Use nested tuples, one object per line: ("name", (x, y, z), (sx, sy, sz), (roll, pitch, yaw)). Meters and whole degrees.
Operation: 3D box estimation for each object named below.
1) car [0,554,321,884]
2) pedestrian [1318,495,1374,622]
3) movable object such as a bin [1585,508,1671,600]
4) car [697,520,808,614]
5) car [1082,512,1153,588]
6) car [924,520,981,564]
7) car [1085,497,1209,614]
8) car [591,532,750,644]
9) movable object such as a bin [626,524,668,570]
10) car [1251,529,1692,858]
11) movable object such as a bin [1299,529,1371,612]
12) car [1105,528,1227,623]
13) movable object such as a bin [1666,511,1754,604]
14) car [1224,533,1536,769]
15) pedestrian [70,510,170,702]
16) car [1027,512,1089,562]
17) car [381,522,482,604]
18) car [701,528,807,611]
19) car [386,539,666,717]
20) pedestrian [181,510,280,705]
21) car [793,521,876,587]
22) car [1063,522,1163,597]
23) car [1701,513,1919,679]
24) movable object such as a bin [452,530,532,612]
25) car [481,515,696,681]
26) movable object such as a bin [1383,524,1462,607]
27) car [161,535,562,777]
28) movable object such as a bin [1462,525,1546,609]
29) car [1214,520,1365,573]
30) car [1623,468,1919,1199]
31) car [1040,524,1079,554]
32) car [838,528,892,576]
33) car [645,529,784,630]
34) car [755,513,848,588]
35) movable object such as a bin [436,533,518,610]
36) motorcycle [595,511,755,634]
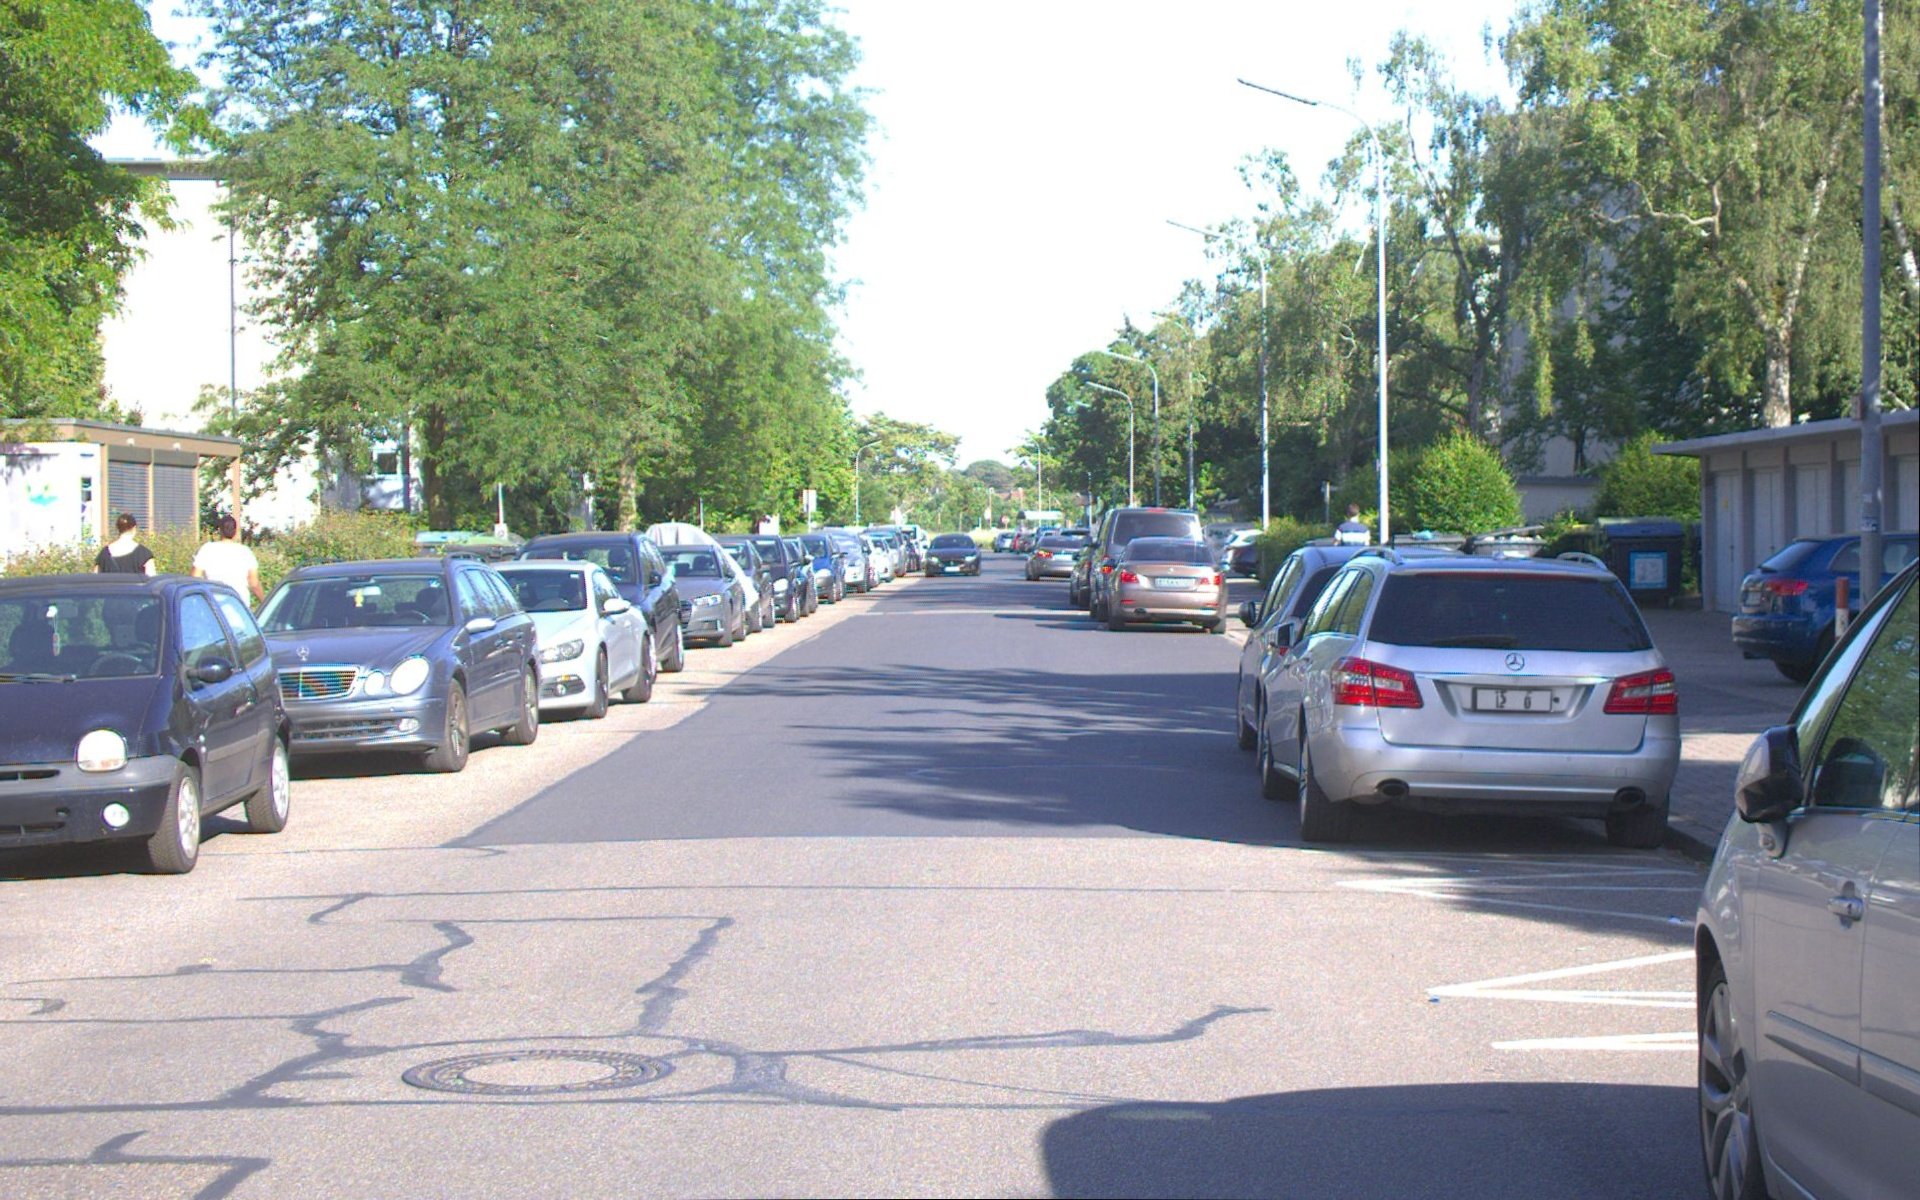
("car", (-4.432, 0.537, 17.568), (1.648, 1.459, 3.496), (-2, 1, 0))
("pedestrian", (5.831, -0.628, 51.943), (0.703, 1.882, 0.872), (-2, 1, 2))
("movable object such as a bin", (11.144, -0.775, 57.397), (1.276, 1.460, 1.133), (0, 5, 4))
("car", (-3.696, -0.612, 61.675), (1.754, 1.568, 3.720), (-2, 1, -1))
("car", (3.630, -1.165, 79.583), (1.489, 1.712, 2.583), (1, 1, 0))
("car", (-0.253, -2.023, 119.789), (1.910, 1.471, 4.571), (-1, 1, 0))
("car", (3.208, -0.792, 59.666), (1.852, 1.927, 4.705), (1, 1, 0))
("car", (-3.983, -0.201, 47.915), (1.754, 1.416, 4.269), (-2, 1, 1))
("movable object such as a bin", (-9.912, -1.690, 108.877), (1.134, 1.416, 1.361), (2, 1, 2))
("car", (2.619, 0.396, 18.629), (1.831, 1.540, 4.641), (0, 1, 2))
("movable object such as a bin", (6.333, -0.504, 58.050), (1.027, 1.305, 1.386), (-3, 1, 11))
("car", (3.202, -0.420, 54.112), (1.801, 1.414, 4.636), (1, 1, 2))
("movable object such as a bin", (12.495, -0.715, 57.335), (1.276, 1.460, 1.133), (0, 5, 4))
("car", (2.826, 0.288, 23.844), (1.804, 1.489, 3.795), (0, 1, 2))
("pedestrian", (-7.397, 0.042, 30.285), (0.720, 1.673, 0.600), (0, 1, 1))
("car", (3.095, -2.004, 108.875), (1.679, 1.508, 4.105), (1, 1, -2))
("car", (-10.963, -0.796, 71.515), (1.570, 1.635, 4.000), (1, 1, -1))
("car", (-3.946, -0.612, 66.371), (1.754, 1.476, 4.538), (-2, 1, 0))
("car", (-3.816, 0.205, 30.910), (1.754, 1.420, 4.210), (-2, 1, 3))
("pedestrian", (-6.297, 0.057, 29.705), (0.720, 1.673, 0.616), (0, 1, 1))
("car", (-3.212, -1.213, 88.928), (1.903, 1.634, 4.349), (-1, 1, 1))
("car", (3.189, -0.874, 72.433), (1.731, 1.484, 4.502), (-1, 1, -2))
("car", (9.161, -0.052, 31.772), (4.182, 1.489, 1.818), (0, 1, -2))
("movable object such as a bin", (-8.132, -0.516, 59.798), (1.177, 1.403, 1.343), (0, 1, 1))
("car", (-3.968, -0.065, 37.376), (1.754, 1.630, 4.370), (-2, 1, 1))
("movable object such as a bin", (7.675, -0.575, 57.080), (1.224, 1.360, 1.133), (0, 1, 4))
("car", (-4.175, 0.332, 24.784), (1.754, 1.485, 4.900), (-3, 1, 3))
("movable object such as a bin", (8.959, -0.553, 56.663), (1.276, 1.360, 1.133), (0, 1, 4))
("car", (10.027, -1.634, 104.879), (4.415, 1.508, 1.829), (-1, 1, 1))
("car", (2.430, 0.588, 6.112), (1.754, 1.621, 4.495), (0, 1, 2))
("car", (5.197, -3.196, 180.322), (1.795, 1.556, 3.952), (1, 1, -2))
("car", (-3.050, -1.570, 111.253), (1.686, 1.500, 3.818), (-1, 1, -1))
("car", (-3.896, -0.361, 55.114), (1.754, 1.476, 3.959), (-2, 1, 2))
("car", (-3.586, -1.141, 78.360), (1.754, 1.600, 3.969), (-2, 1, 1))
("movable object such as a bin", (-8.198, -0.493, 58.382), (1.177, 1.283, 1.343), (0, 1, 1))
("motorcycle", (-4.256, -0.421, 51.472), (2.256, 1.721, 0.932), (-3, 1, -2))
